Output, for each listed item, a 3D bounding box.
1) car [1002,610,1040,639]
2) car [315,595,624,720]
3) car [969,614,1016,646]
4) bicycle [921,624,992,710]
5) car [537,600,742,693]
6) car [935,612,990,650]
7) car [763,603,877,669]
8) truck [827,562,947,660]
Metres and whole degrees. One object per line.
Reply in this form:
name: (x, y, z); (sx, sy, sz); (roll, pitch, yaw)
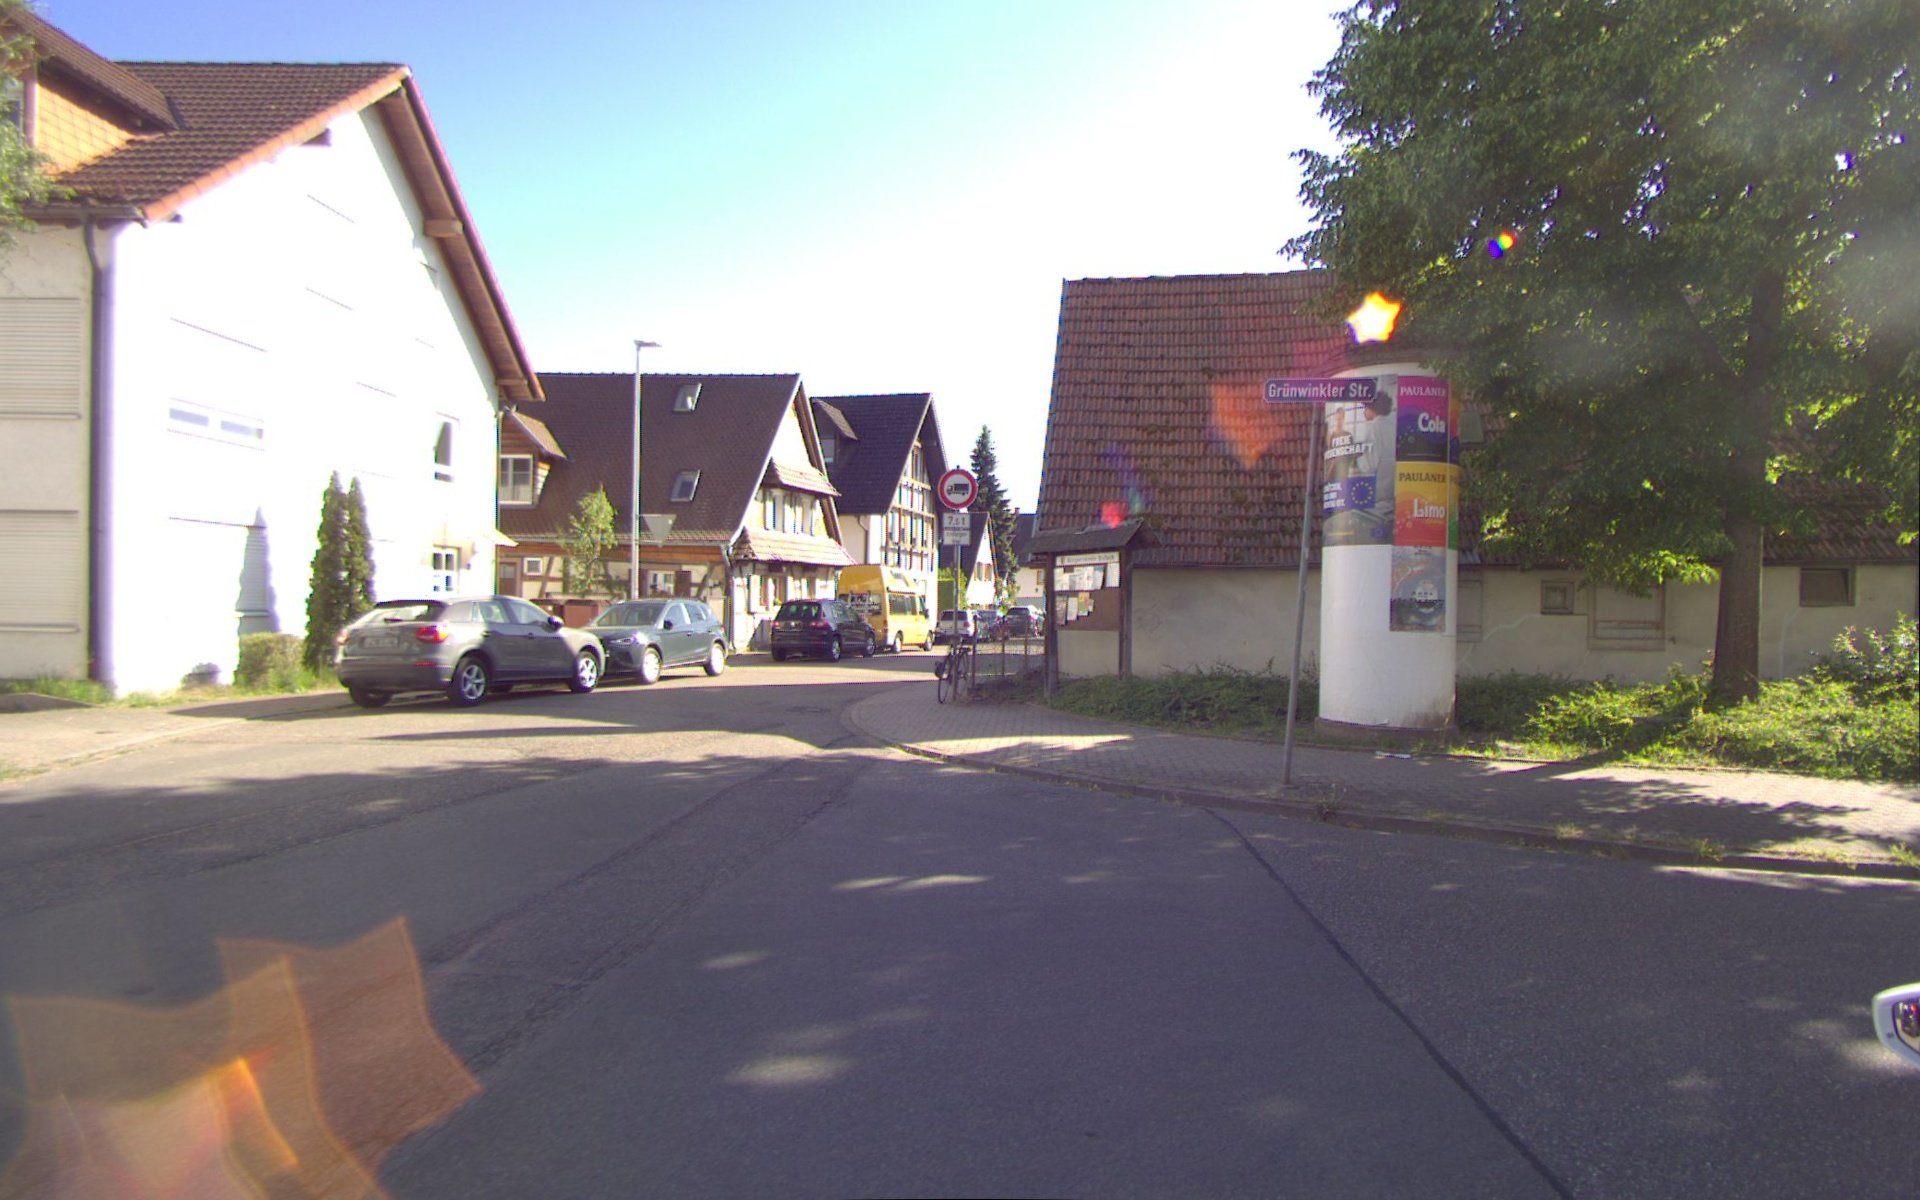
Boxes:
car: (3.351, 1.320, 54.616); (1.561, 1.462, 3.617); (1, -1, 11)
car: (-6.888, 0.761, 14.671); (1.835, 1.525, 4.110); (1, -1, 14)
car: (1.528, 1.348, 46.167); (1.561, 1.354, 3.617); (1, -1, 11)
bicycle: (-0.028, 0.974, 15.103); (0.426, 1.192, 1.828); (1, 0, 21)
car: (-5.865, 0.827, 18.945); (1.776, 1.525, 4.110); (1, -1, 14)
car: (0.149, 1.252, 41.724); (1.617, 1.452, 3.617); (1, -1, 11)
car: (-3.765, 0.953, 27.635); (1.776, 1.643, 3.883); (1, -1, 14)
truck: (-2.238, 0.374, 32.936); (2.229, 2.906, 5.786); (1, -1, 14)
